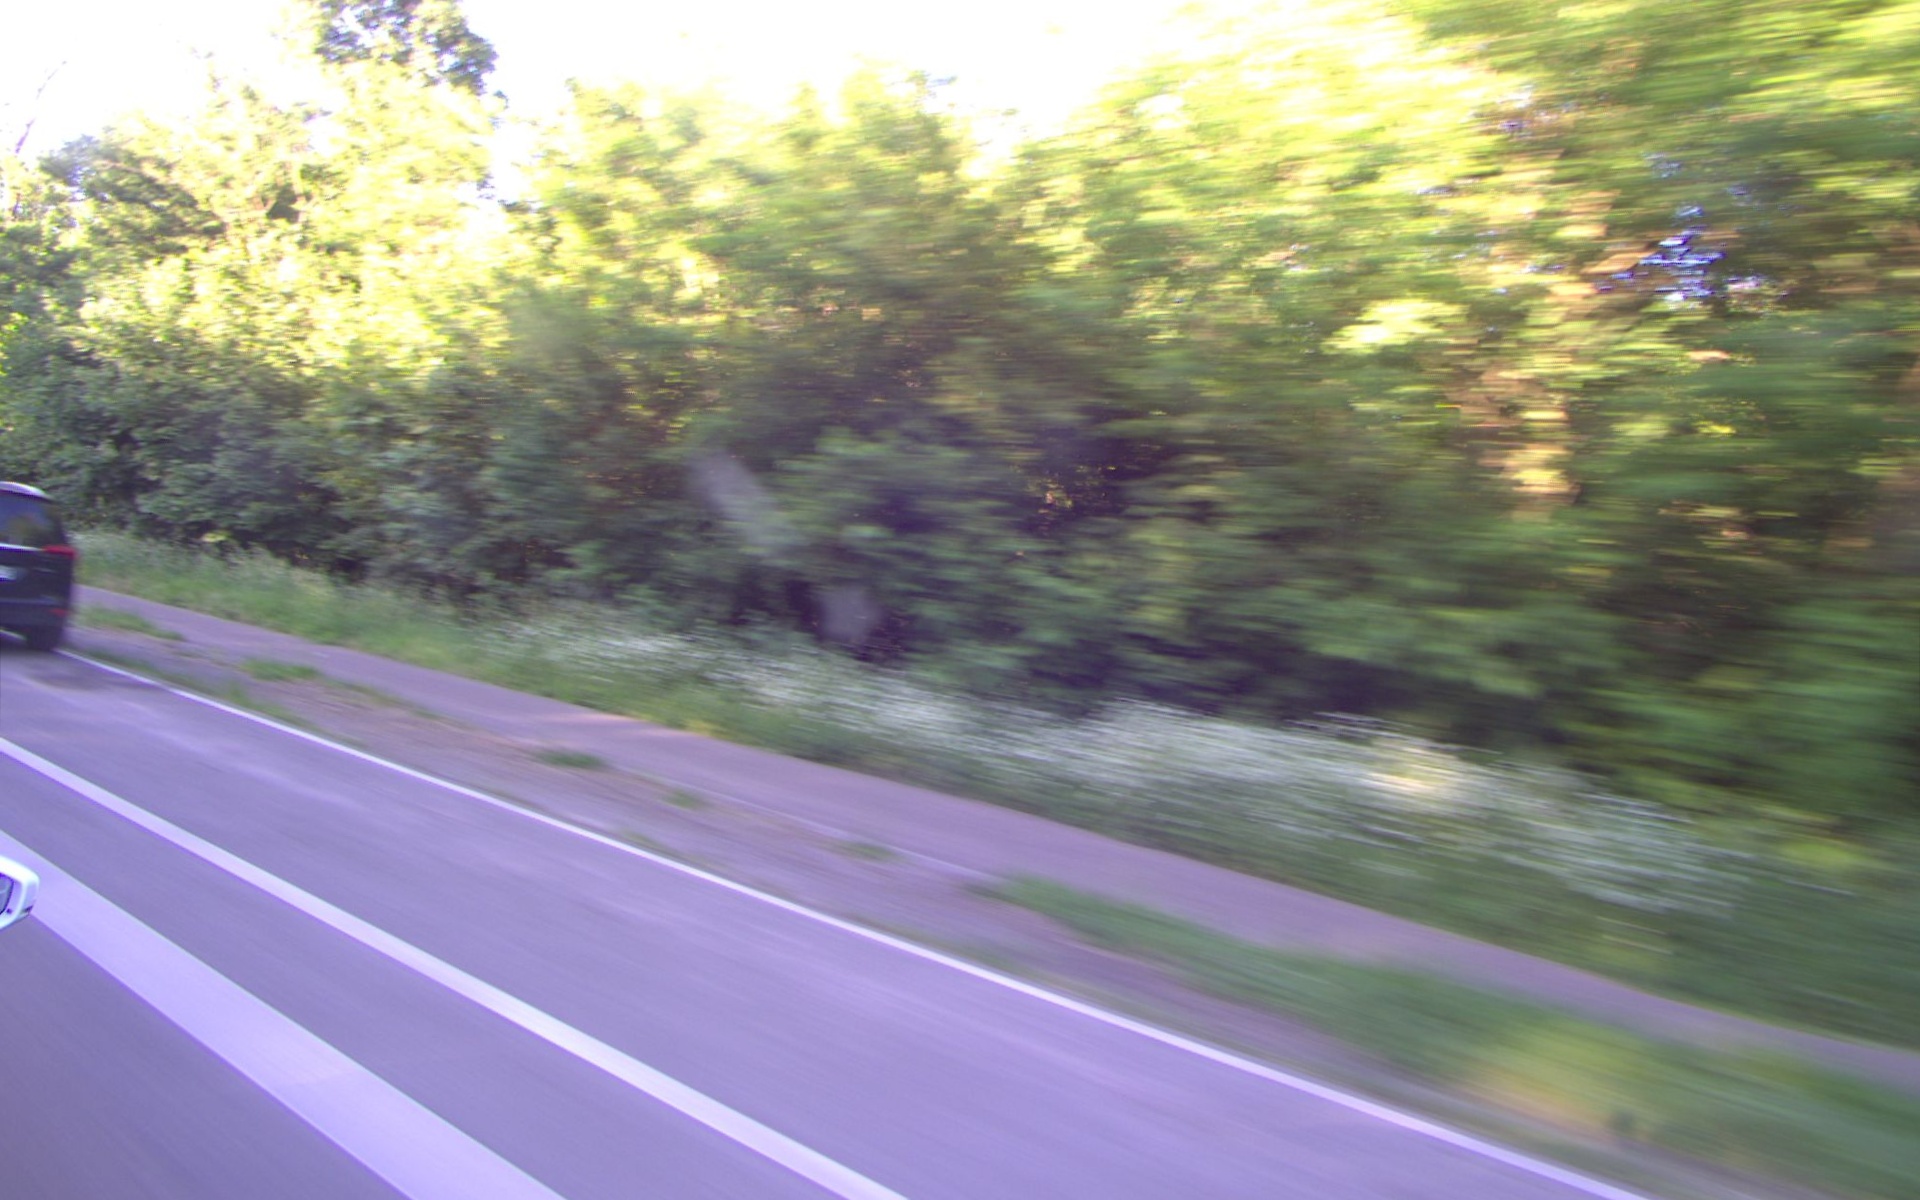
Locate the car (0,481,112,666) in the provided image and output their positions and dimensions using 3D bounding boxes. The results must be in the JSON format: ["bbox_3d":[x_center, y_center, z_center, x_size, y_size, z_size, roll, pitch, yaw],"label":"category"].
[{"bbox_3d":[-10.641,-0.465,10.241,3.934,1.681,1.844,7,-1,32],"label":"car"}]
